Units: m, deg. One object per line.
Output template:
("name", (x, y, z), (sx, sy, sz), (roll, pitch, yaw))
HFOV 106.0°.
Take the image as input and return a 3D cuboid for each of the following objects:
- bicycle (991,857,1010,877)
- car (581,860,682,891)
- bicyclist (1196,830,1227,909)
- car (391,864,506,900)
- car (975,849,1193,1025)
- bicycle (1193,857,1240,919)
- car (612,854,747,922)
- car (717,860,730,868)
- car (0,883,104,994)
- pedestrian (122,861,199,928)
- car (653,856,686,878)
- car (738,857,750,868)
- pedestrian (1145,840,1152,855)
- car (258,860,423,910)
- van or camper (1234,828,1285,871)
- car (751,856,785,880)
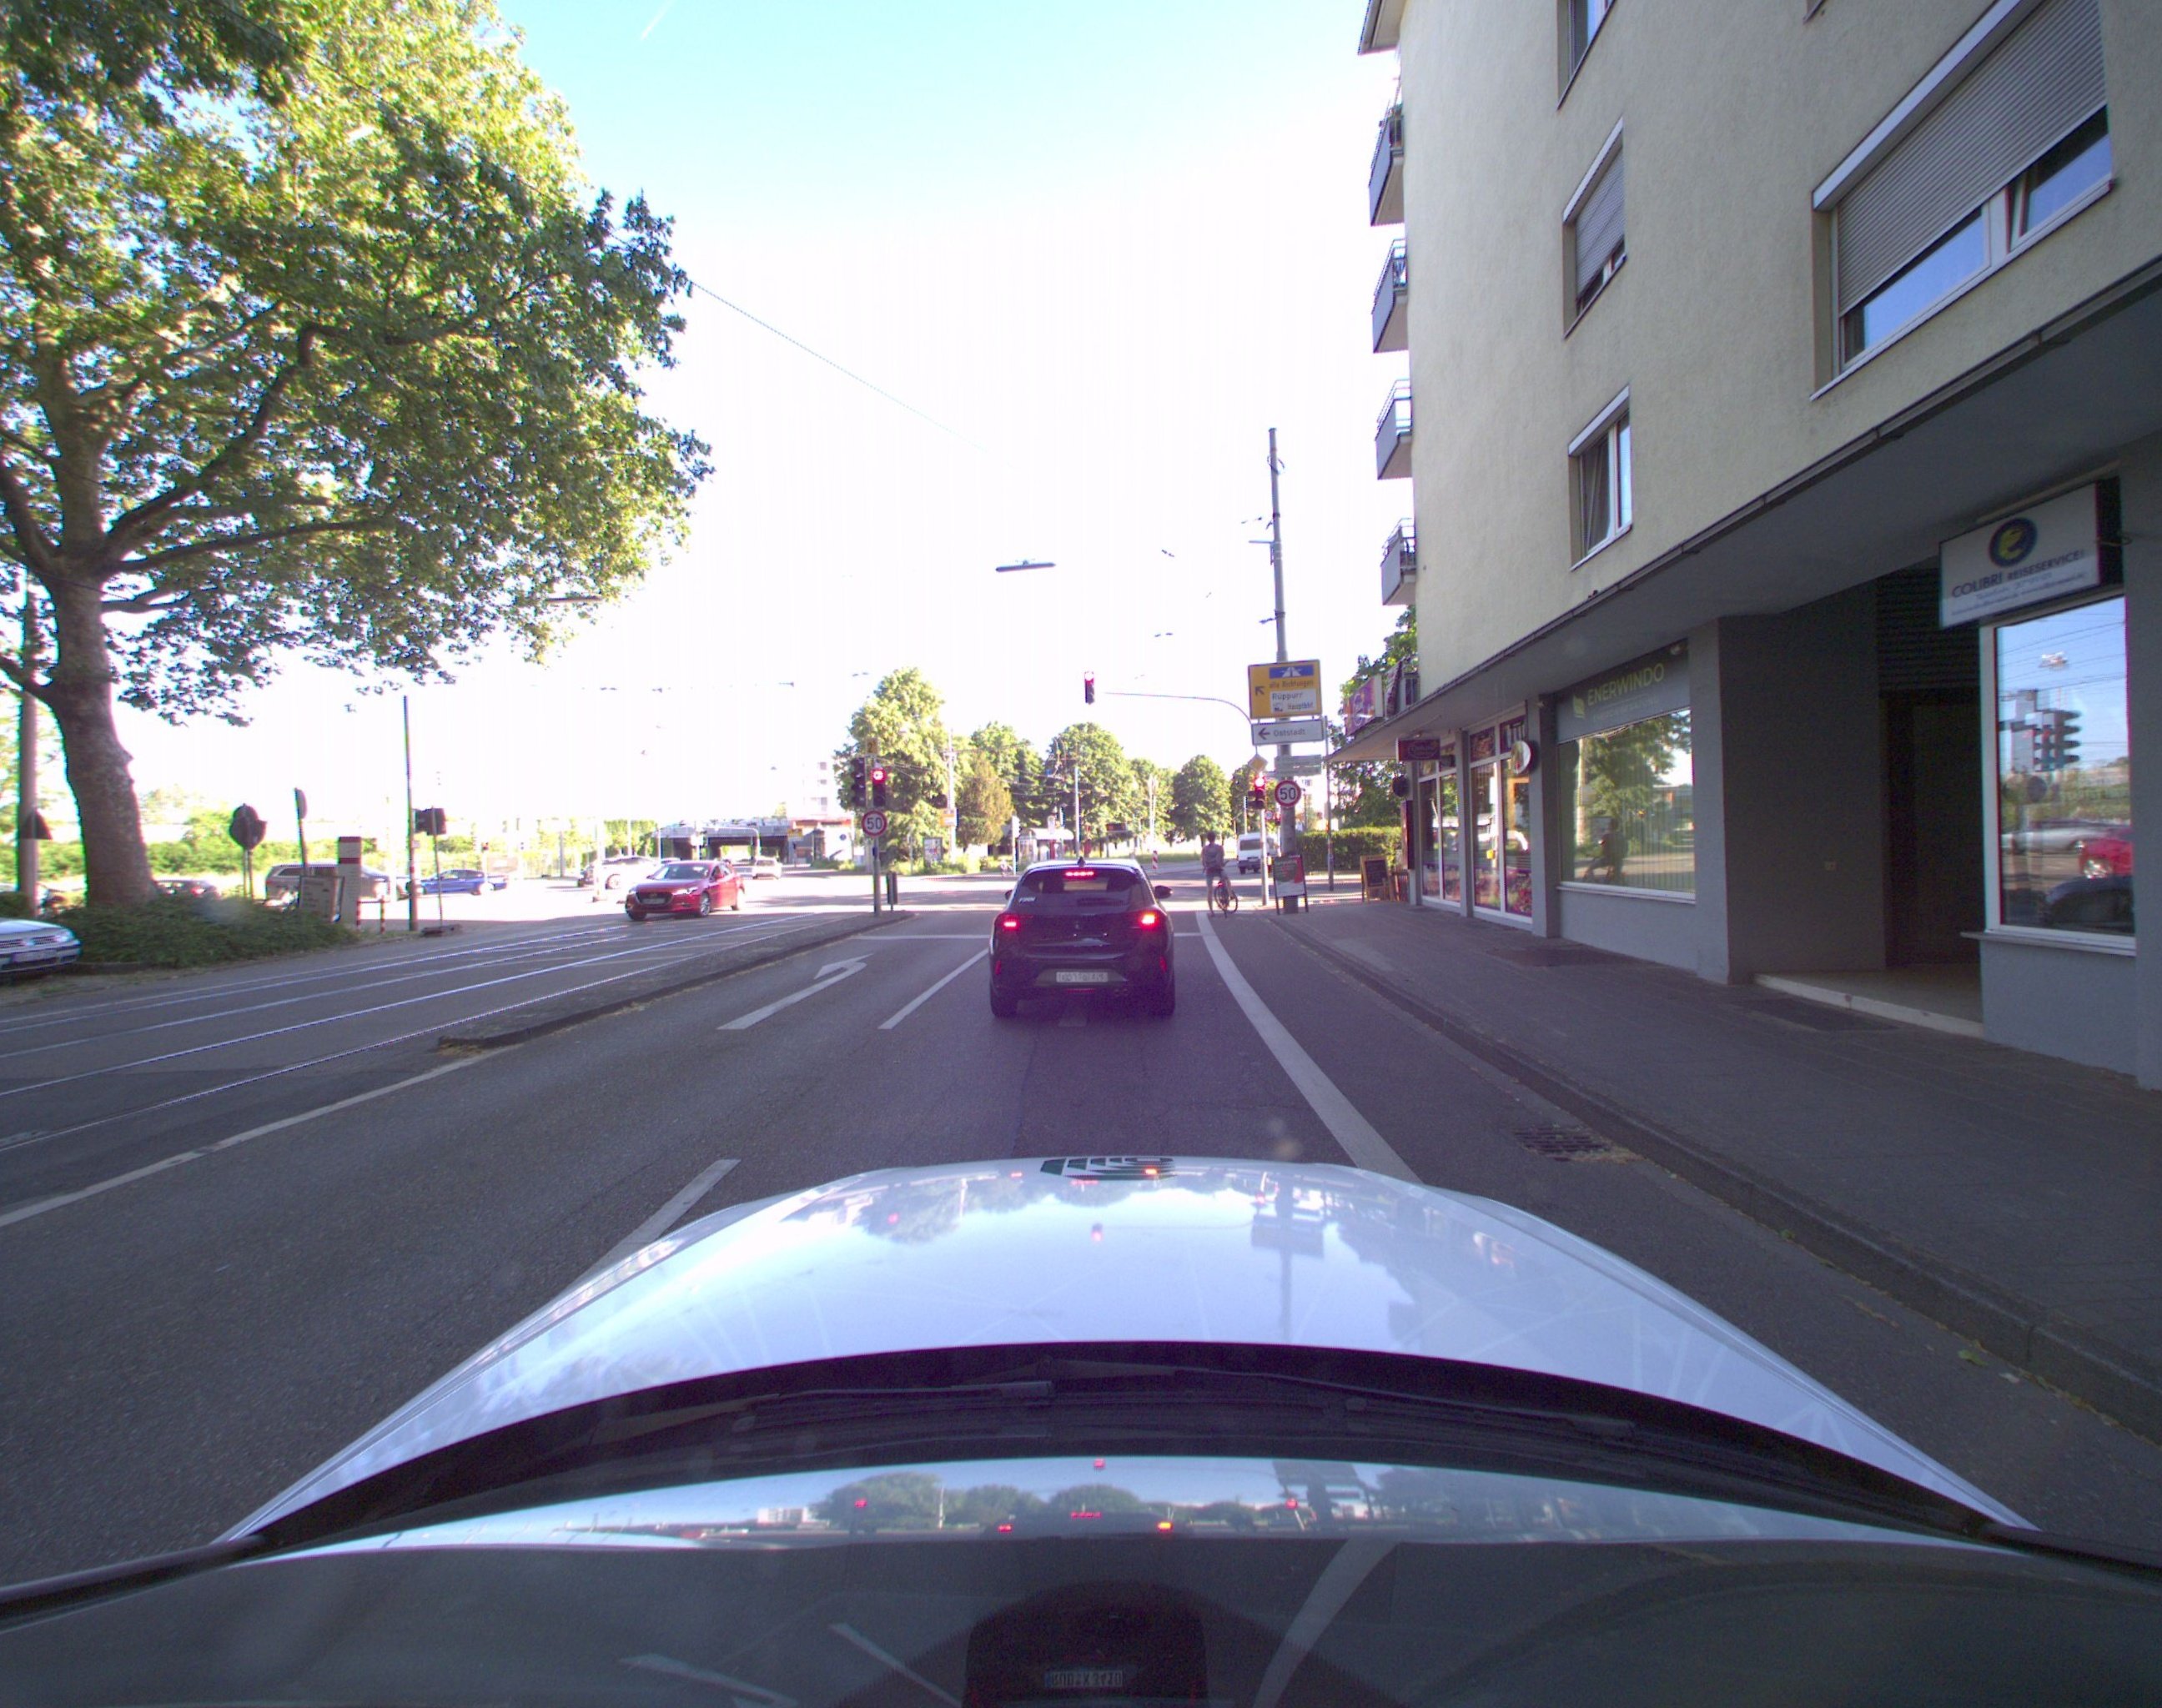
("bicycle", (-4.580, 0.735, 46.322), (0.793, 1.064, 2.186), (-2, 0, 2))
("car", (-23.062, 1.073, 41.913), (1.780, 1.519, 4.232), (-1, -1, 39))
("bicyclist", (2.866, 0.326, 17.814), (0.529, 1.692, 0.571), (-2, 0, 19))
("car", (-31.919, 1.372, 41.205), (1.688, 1.555, 4.289), (-2, 0, 38))
("car", (0.089, 0.698, 8.937), (1.833, 1.462, 3.985), (-1, 0, 2))
("bicycle", (3.002, 0.712, 17.897), (0.747, 1.235, 2.024), (-2, 0, 16))
("car", (-10.481, 0.800, 21.671), (2.017, 1.565, 4.476), (-1, 0, -10))
("car", (-57.191, 1.609, 130.354), (1.587, 1.260, 3.397), (-2, 0, -28))
("car", (-16.633, 1.191, 11.349), (3.957, 1.453, 1.670), (-1, 0, -1))
("pedestrian", (-23.205, 1.012, 20.551), (0.842, 1.647, 0.931), (0, -1, 1))
("car", (-31.929, 0.996, 63.226), (1.892, 1.585, 3.809), (0, -1, -21))
("car", (-54.303, 1.390, 131.202), (1.761, 1.684, 3.713), (0, -1, -22))
("pedestrian", (8.442, -0.849, 101.597), (0.608, 1.872, 0.514), (0, -1, -34))
("car", (-31.985, 1.310, 35.372), (4.851, 1.881, 1.900), (-2, 0, -23))
("van or camper", (10.186, -0.226, 46.214), (2.011, 2.310, 4.565), (-1, -1, 23))
("car", (-22.001, 0.961, 57.153), (2.000, 1.552, 4.162), (0, -1, -25))
